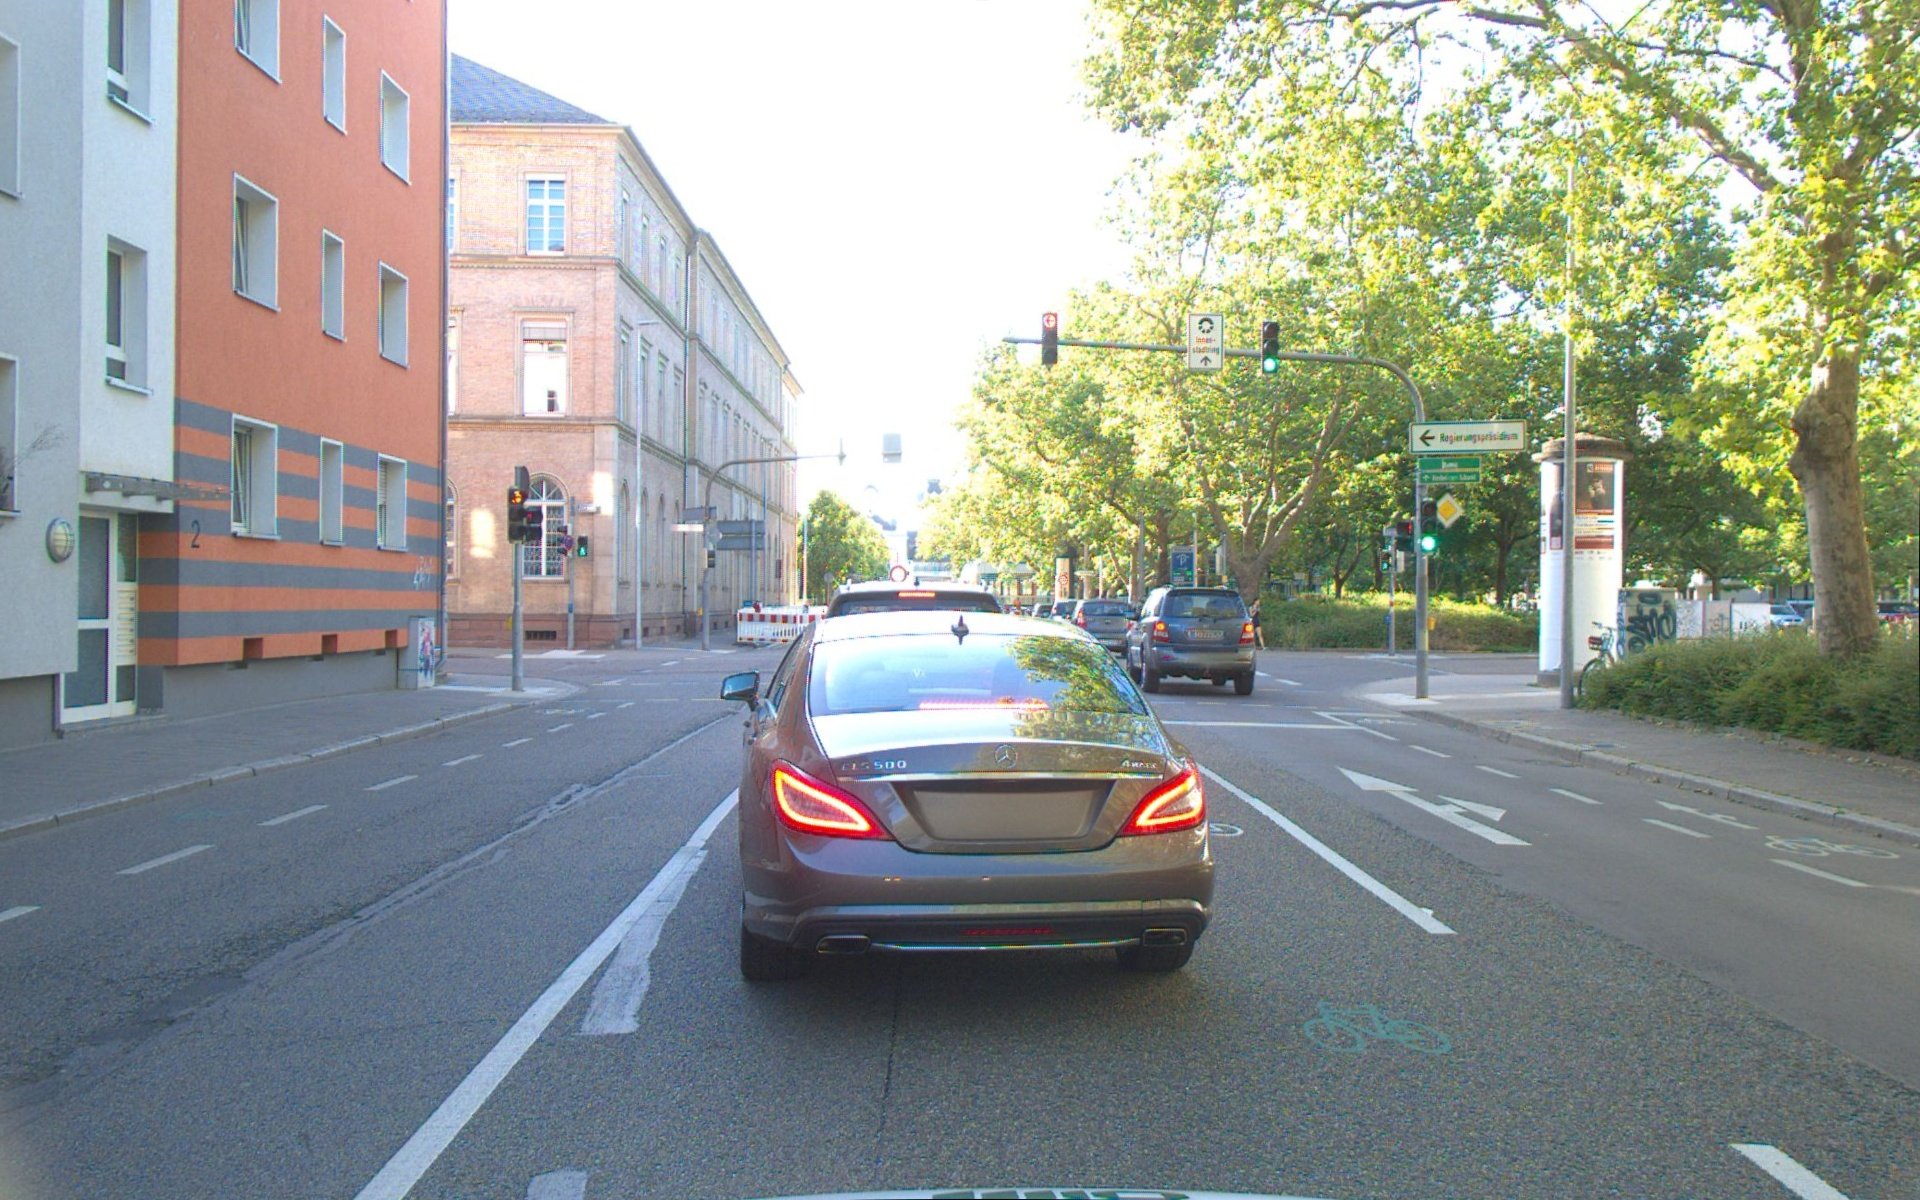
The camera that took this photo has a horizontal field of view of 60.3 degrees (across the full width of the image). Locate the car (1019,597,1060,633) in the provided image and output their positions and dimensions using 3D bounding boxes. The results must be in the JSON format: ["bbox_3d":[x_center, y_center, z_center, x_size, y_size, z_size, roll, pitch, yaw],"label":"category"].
[{"bbox_3d":[3.587,0.664,75.110,1.568,1.576,3.680,1,0,-1],"label":"car"}]

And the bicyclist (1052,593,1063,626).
[{"bbox_3d":[6.211,0.604,105.177,0.583,2.075,0.565,1,-1,-5],"label":"bicyclist"}]

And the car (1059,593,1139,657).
[{"bbox_3d":[3.523,0.596,42.508,1.670,1.545,3.999,1,0,-1],"label":"car"}]

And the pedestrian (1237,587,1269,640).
[{"bbox_3d":[8.850,0.400,49.966,0.625,1.572,0.907,1,-1,-13],"label":"pedestrian"}]

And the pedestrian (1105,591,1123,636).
[{"bbox_3d":[6.274,0.549,67.393,0.623,1.828,0.698,1,-1,-5],"label":"pedestrian"}]

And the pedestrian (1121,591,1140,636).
[{"bbox_3d":[6.941,0.544,67.410,0.623,1.791,0.698,1,-1,-5],"label":"pedestrian"}]

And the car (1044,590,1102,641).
[{"bbox_3d":[3.894,0.520,57.696,1.696,1.691,3.680,1,0,-1],"label":"car"}]

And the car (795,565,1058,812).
[{"bbox_3d":[-0.264,0.618,13.589,1.823,1.712,3.999,1,0,-1],"label":"car"}]

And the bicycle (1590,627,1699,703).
[{"bbox_3d":[9.877,0.921,23.835,1.868,1.046,0.633,1,-1,-39],"label":"bicycle"}]

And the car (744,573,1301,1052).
[{"bbox_3d":[-0.027,0.688,7.462,1.826,1.545,3.993,1,0,-8],"label":"car"}]

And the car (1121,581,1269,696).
[{"bbox_3d":[3.936,0.606,28.374,1.823,1.794,4.481,1,0,-1],"label":"car"}]
